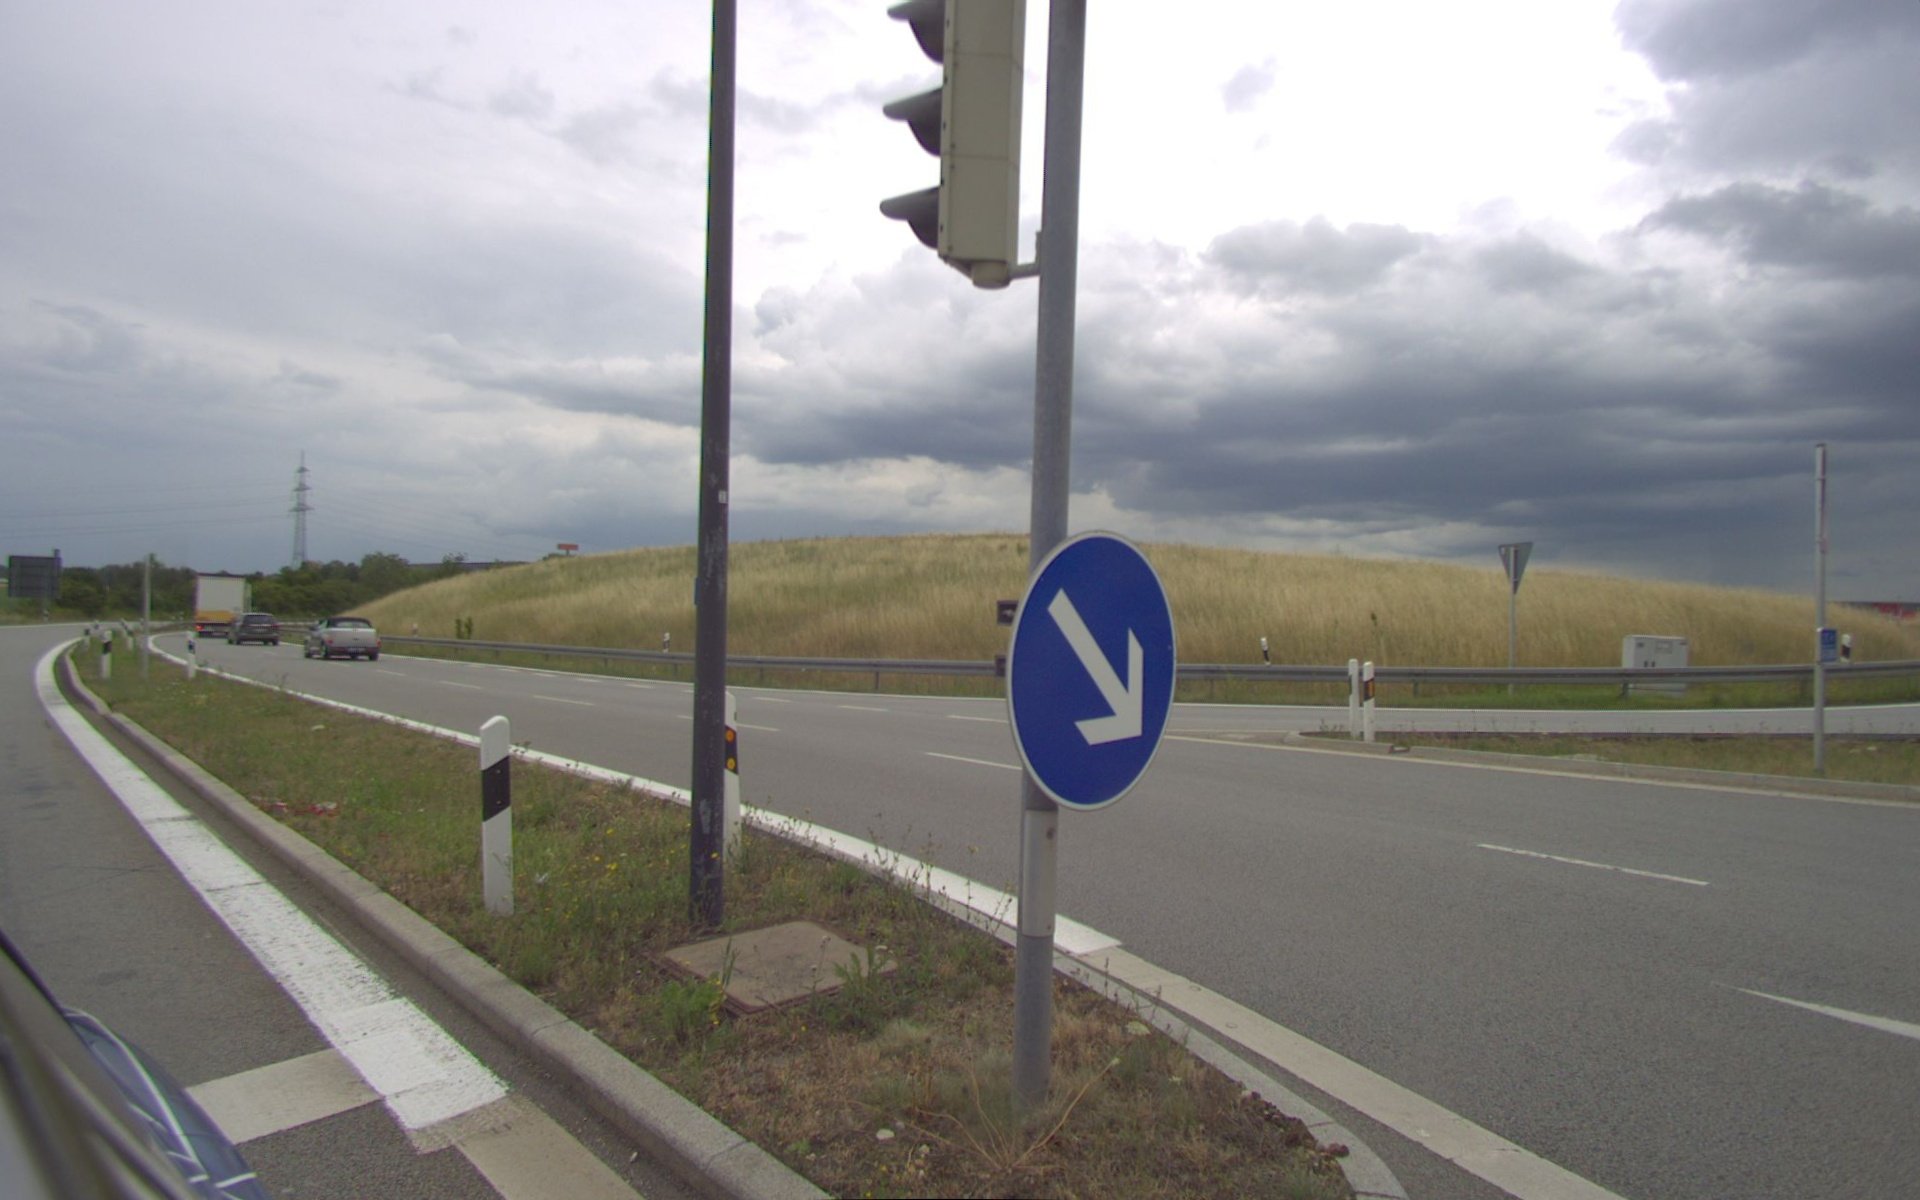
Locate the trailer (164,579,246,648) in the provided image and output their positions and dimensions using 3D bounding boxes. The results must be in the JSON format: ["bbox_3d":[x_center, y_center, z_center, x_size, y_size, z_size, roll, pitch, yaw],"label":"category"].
[{"bbox_3d":[-51.541,0.846,68.856,2.660,4.242,13.853,2,-1,-44],"label":"trailer"}]

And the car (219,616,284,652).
[{"bbox_3d":[-36.732,1.736,52.422,4.457,1.707,1.971,0,-1,45],"label":"car"}]

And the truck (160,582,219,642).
[{"bbox_3d":[-56.161,0.829,73.699,2.618,4.172,6.409,2,-1,-44],"label":"truck"}]

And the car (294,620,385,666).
[{"bbox_3d":[-22.045,1.483,35.879,4.244,1.532,1.790,-2,-2,45],"label":"car"}]
